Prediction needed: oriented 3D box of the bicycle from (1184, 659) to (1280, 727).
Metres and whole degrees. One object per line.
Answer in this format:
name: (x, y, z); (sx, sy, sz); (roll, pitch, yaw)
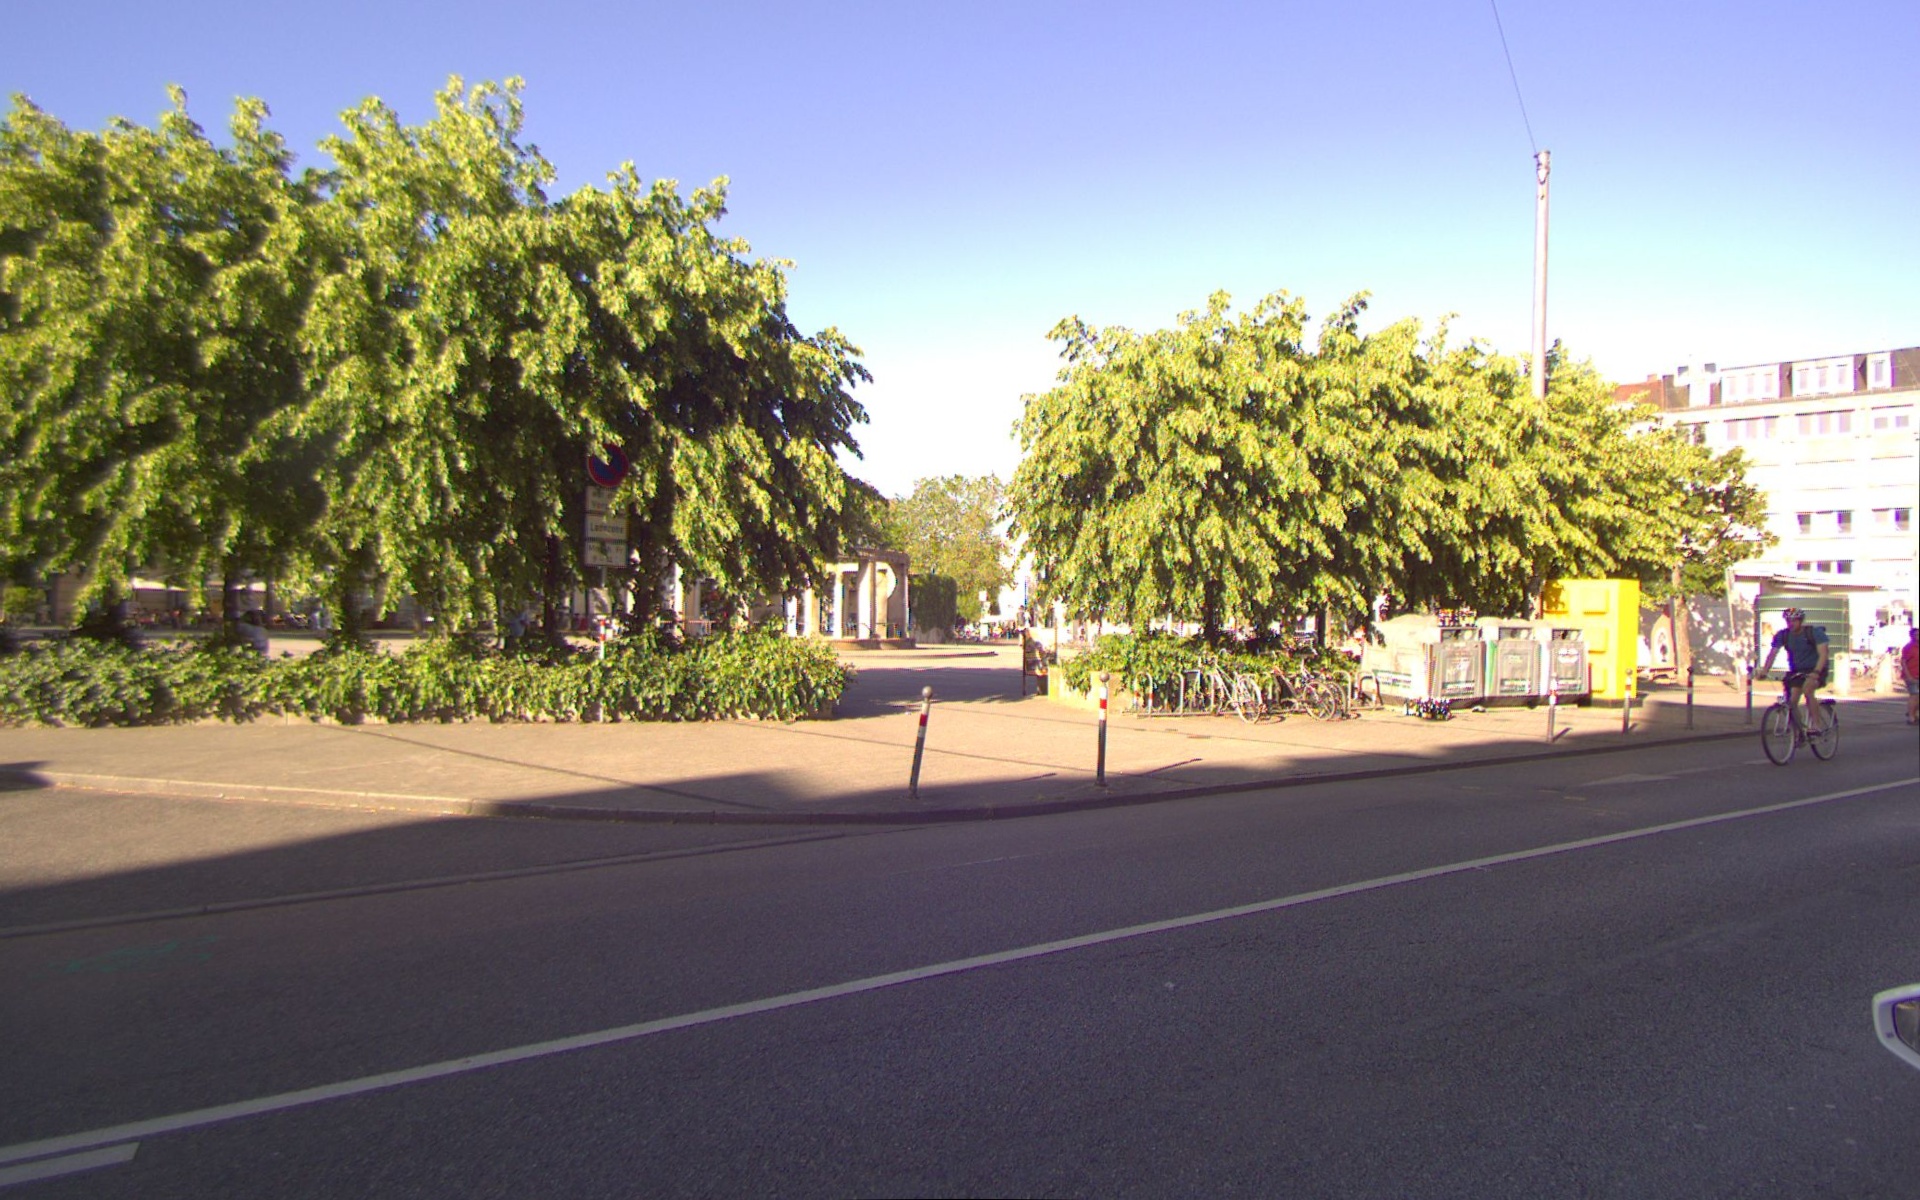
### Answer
bicycle: (4.178, 1.409, 15.533); (0.464, 0.897, 1.558); (2, 0, -29)

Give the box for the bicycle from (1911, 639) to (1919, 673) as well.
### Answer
bicycle: (37.249, 2.154, 37.283); (0.932, 1.276, 2.648); (2, 0, -32)

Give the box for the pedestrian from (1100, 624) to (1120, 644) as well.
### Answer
pedestrian: (9.590, 2.188, 64.127); (0.888, 1.230, 0.861); (2, 0, -25)

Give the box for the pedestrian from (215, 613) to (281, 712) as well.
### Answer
pedestrian: (-10.848, 0.932, 15.308); (0.581, 1.456, 0.615); (2, 0, 33)

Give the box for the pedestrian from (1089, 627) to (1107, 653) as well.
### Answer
pedestrian: (8.711, 2.522, 63.433); (1.003, 1.541, 1.036); (2, 0, 15)

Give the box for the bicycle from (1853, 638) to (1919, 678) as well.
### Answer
bicycle: (33.146, 2.039, 35.072); (0.923, 1.291, 2.764); (2, 0, -32)

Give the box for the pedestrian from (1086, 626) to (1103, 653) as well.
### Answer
pedestrian: (8.172, 2.399, 61.065); (0.904, 1.541, 0.936); (2, 0, 15)

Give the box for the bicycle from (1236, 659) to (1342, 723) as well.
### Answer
bicycle: (5.278, 1.442, 16.192); (0.465, 0.870, 1.659); (2, 0, -35)

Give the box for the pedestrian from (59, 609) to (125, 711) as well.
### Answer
pedestrian: (-12.856, 0.869, 14.891); (0.615, 1.456, 0.647); (2, 0, -32)

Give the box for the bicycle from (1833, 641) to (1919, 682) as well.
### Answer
bicycle: (31.224, 2.062, 33.770); (0.932, 1.211, 2.645); (2, 0, -32)

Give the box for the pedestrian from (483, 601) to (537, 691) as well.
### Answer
pedestrian: (-7.996, 0.807, 17.846); (0.688, 1.541, 0.676); (2, 0, -41)

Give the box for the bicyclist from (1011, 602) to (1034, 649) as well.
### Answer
bicyclist: (2.343, 0.961, 37.619); (0.773, 1.722, 0.896); (2, 0, 4)

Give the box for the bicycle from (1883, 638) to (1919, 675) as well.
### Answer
bicycle: (35.265, 2.083, 36.138); (0.932, 1.287, 2.859); (2, 0, -32)

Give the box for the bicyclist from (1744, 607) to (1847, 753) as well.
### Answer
bicyclist: (10.309, 0.968, 12.404); (0.800, 1.732, 0.698); (2, -3, -28)

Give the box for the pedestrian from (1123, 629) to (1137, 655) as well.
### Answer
pedestrian: (10.210, 2.516, 60.398); (0.761, 1.541, 0.838); (2, 0, 6)

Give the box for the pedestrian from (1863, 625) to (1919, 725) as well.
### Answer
pedestrian: (17.409, 1.350, 18.224); (1.044, 1.742, 1.110); (2, 0, -14)

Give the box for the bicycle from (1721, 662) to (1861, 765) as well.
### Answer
bicycle: (10.224, 1.362, 12.341); (1.933, 1.177, 0.614); (2, -3, -28)

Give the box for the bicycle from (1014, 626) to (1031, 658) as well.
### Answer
bicycle: (2.344, 1.560, 37.749); (0.593, 1.116, 1.990); (2, 0, 3)

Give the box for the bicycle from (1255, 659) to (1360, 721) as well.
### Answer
bicycle: (5.676, 1.452, 16.487); (0.465, 0.870, 1.654); (2, 0, -35)

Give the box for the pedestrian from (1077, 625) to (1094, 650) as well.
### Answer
pedestrian: (9.791, 2.892, 78.369); (1.274, 1.867, 1.103); (2, 0, 4)

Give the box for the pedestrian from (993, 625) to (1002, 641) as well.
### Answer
pedestrian: (3.889, 3.415, 104.504); (0.744, 1.557, 0.673); (2, 0, -12)
